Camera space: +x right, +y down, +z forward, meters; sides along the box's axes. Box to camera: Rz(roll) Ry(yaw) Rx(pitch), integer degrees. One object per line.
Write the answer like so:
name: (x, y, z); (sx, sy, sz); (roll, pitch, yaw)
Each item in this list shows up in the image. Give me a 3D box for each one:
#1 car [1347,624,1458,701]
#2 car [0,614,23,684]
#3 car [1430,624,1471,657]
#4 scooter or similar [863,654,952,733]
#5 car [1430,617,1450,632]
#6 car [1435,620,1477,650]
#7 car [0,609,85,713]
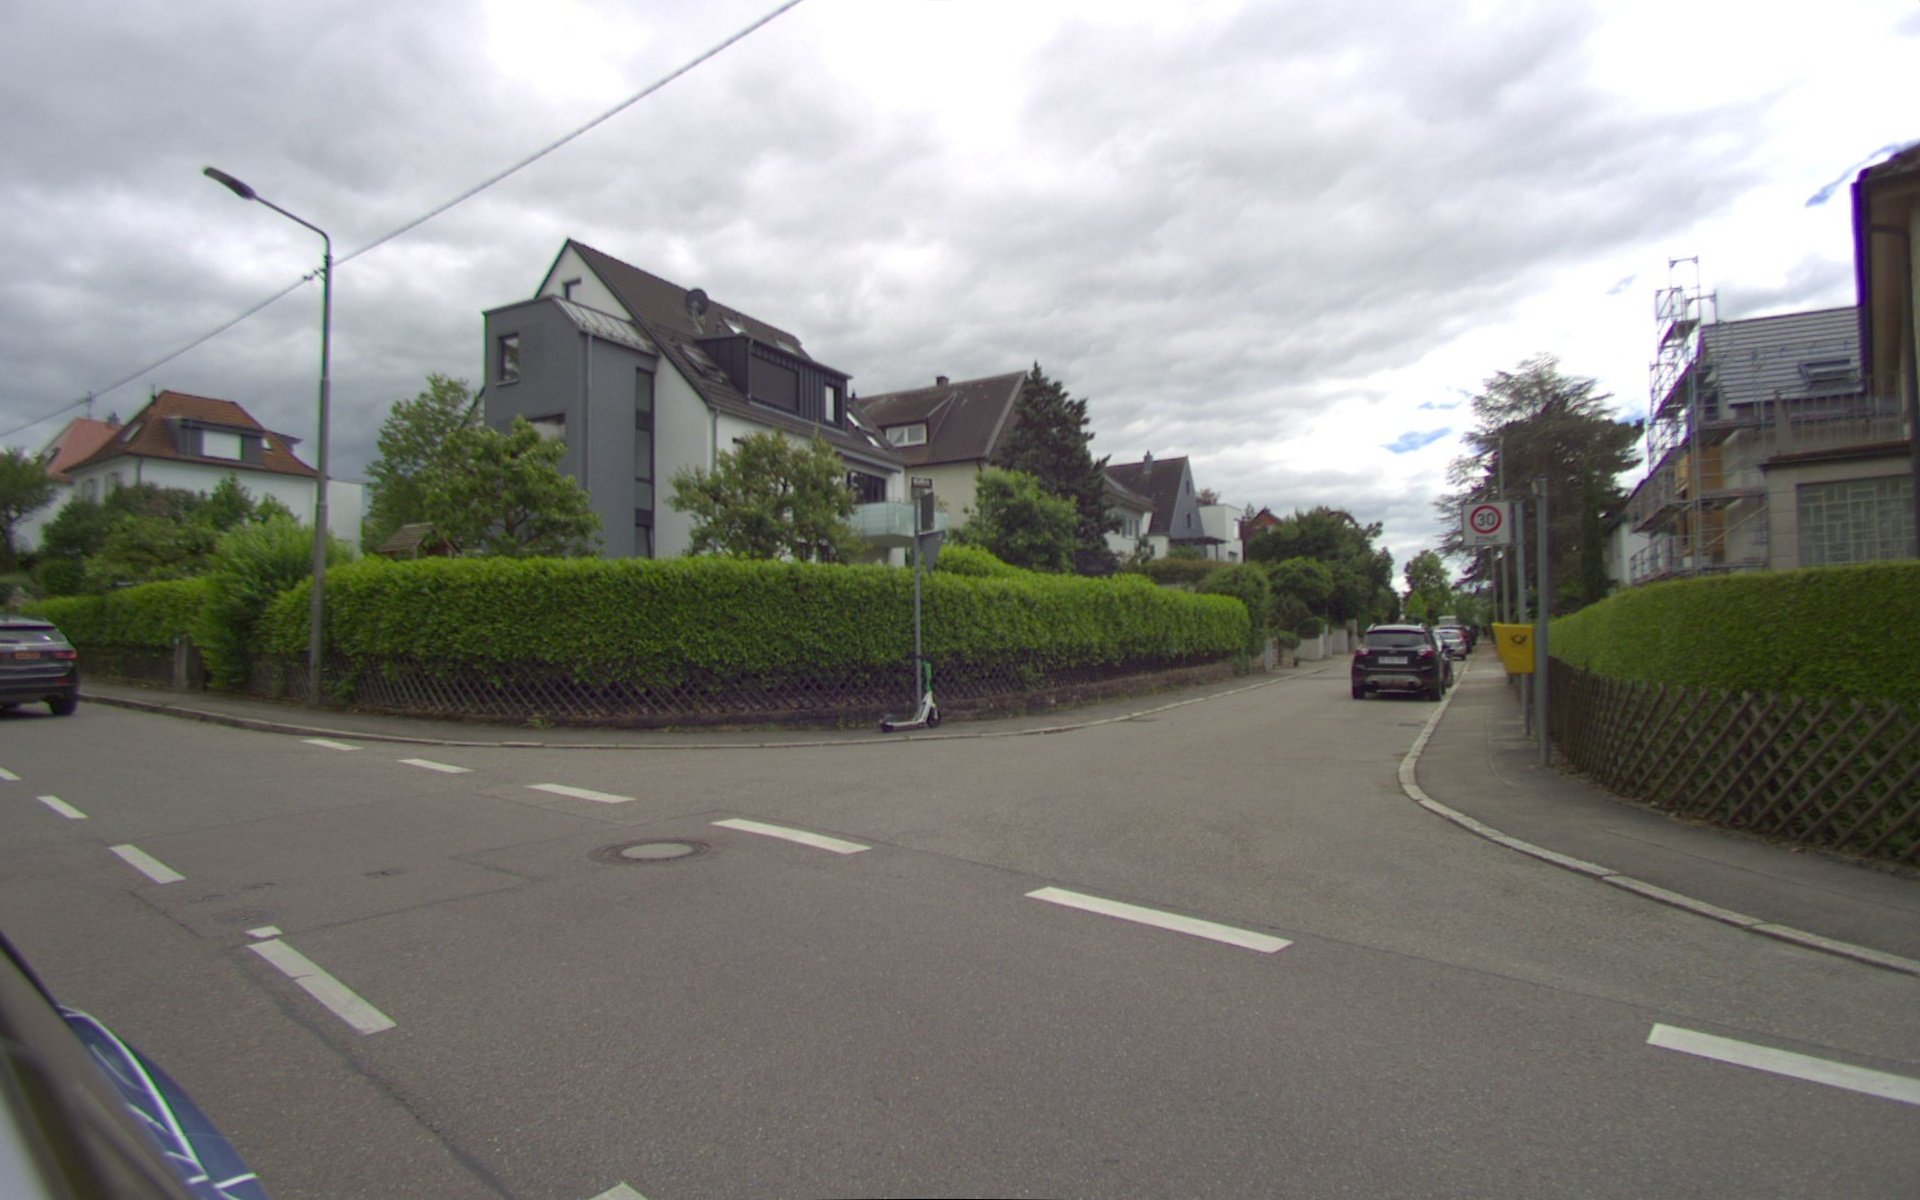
car: (10.384, 1.429, 23.607); (1.889, 1.609, 3.958); (-2, -3, 31)
car: (-23.211, 1.100, 23.028); (3.988, 1.535, 1.820); (-1, -2, 33)
car: (23.887, 1.936, 49.273); (1.732, 1.541, 3.964); (-1, -2, 26)
scooter or similar: (-0.787, 1.409, 15.563); (0.455, 1.109, 1.435); (2, 0, 43)
car: (51.223, 2.603, 108.109); (1.738, 1.609, 3.969); (-1, -2, 23)
car: (28.863, 2.023, 59.024); (1.988, 1.685, 3.968); (-1, -2, 24)
car: (-16.337, 0.966, 16.746); (3.944, 1.612, 1.799); (-1, -1, 33)
